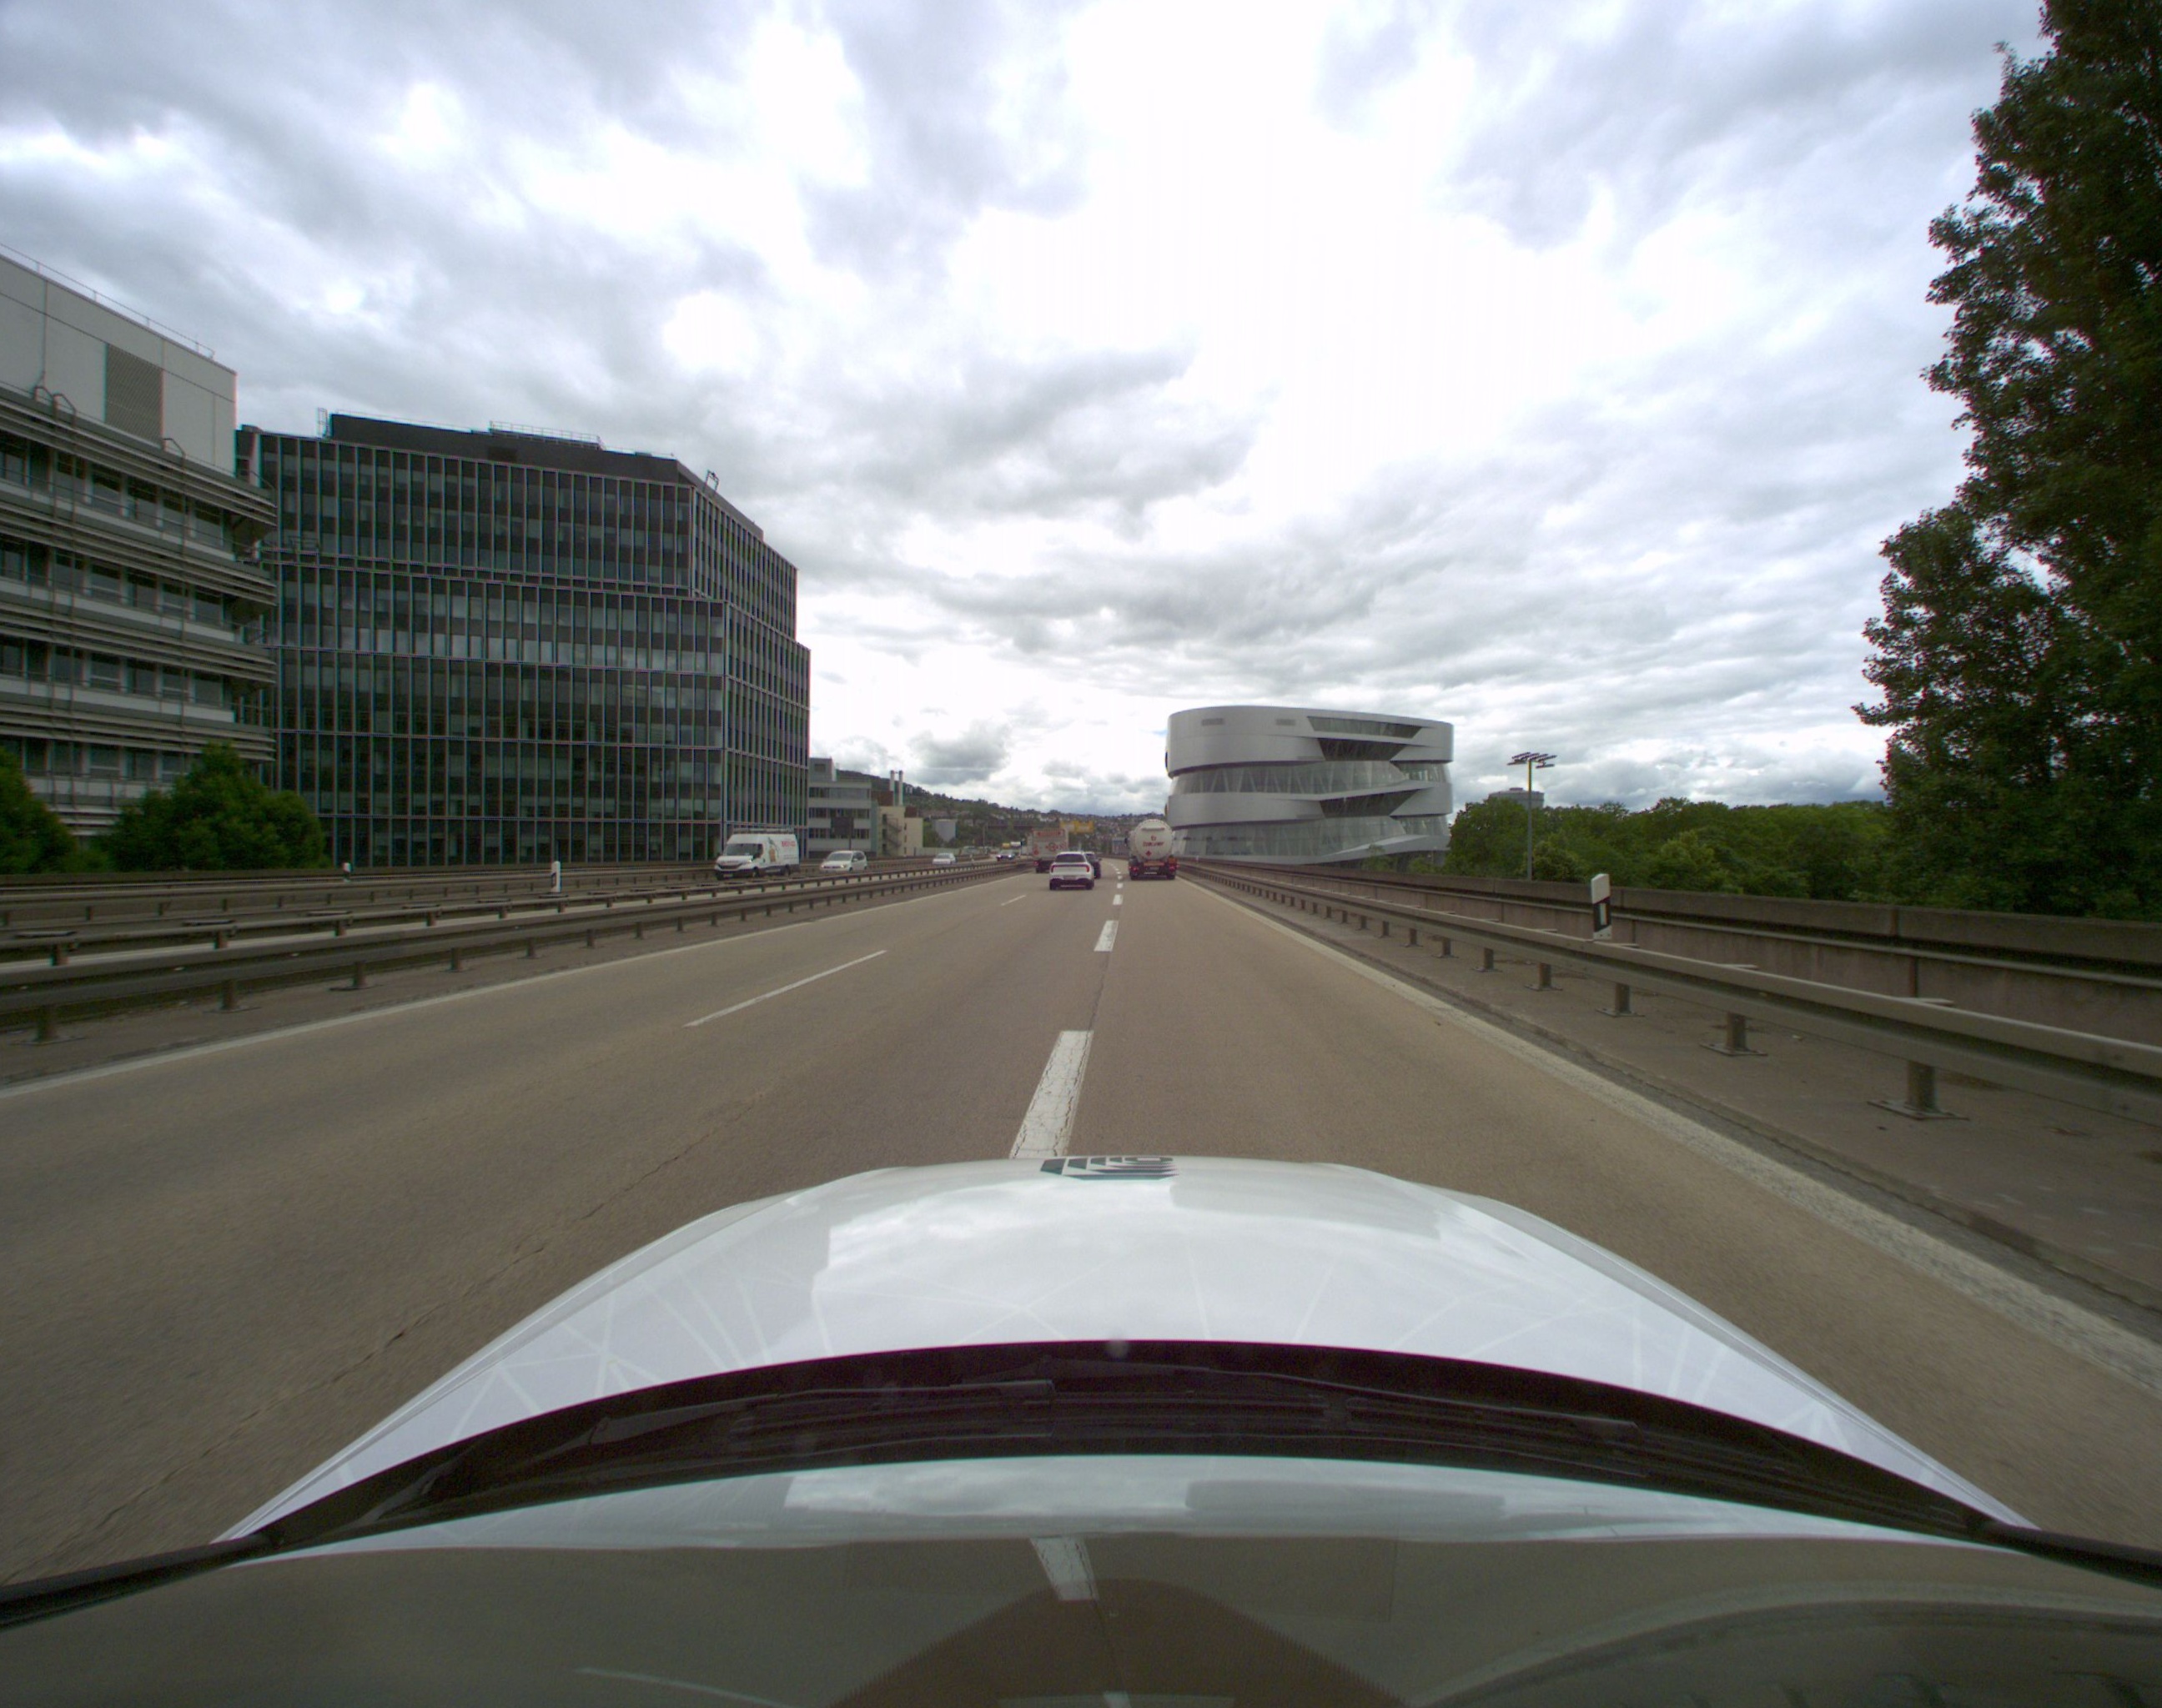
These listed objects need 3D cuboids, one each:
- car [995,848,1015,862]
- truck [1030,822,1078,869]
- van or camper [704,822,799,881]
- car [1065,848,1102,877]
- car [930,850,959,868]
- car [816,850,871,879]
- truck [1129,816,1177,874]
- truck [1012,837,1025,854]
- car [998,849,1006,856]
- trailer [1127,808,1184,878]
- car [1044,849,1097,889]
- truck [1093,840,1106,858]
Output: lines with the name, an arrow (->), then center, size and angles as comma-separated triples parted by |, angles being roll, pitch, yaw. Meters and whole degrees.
car -> -9.383, 0.089, 101.306 | 1.755, 1.650, 4.339 | 2, 0, 3
truck -> -2.147, -0.636, 67.954 | 3.043, 3.691, 8.314 | -1, 0, 4
van or camper -> -18.164, -0.145, 45.410 | 2.163, 3.008, 7.120 | -1, 0, 2
car -> 0.202, 0.538, 50.388 | 1.984, 1.675, 4.413 | -1, 0, 4
car -> -12.956, 0.456, 77.581 | 1.675, 1.650, 4.453 | 0, 0, 4
car -> -13.918, 0.591, 47.975 | 1.675, 1.650, 4.317 | 0, 0, 4
truck -> 4.831, -0.564, 55.278 | 3.001, 3.657, 6.279 | -1, -1, 4
truck -> -15.721, -2.184, 205.172 | 2.764, 4.079, 5.643 | -1, -1, -1
car -> -18.963, -0.300, 195.187 | 1.678, 1.650, 4.358 | 0, 0, -1
trailer -> 4.383, -0.591, 48.632 | 3.043, 3.790, 8.314 | -1, 0, 4
car -> -0.410, 0.641, 36.753 | 1.984, 1.675, 4.413 | -1, 0, 4
truck -> 4.765, -1.156, 209.997 | 3.048, 4.562, 8.299 | -1, 0, -1
